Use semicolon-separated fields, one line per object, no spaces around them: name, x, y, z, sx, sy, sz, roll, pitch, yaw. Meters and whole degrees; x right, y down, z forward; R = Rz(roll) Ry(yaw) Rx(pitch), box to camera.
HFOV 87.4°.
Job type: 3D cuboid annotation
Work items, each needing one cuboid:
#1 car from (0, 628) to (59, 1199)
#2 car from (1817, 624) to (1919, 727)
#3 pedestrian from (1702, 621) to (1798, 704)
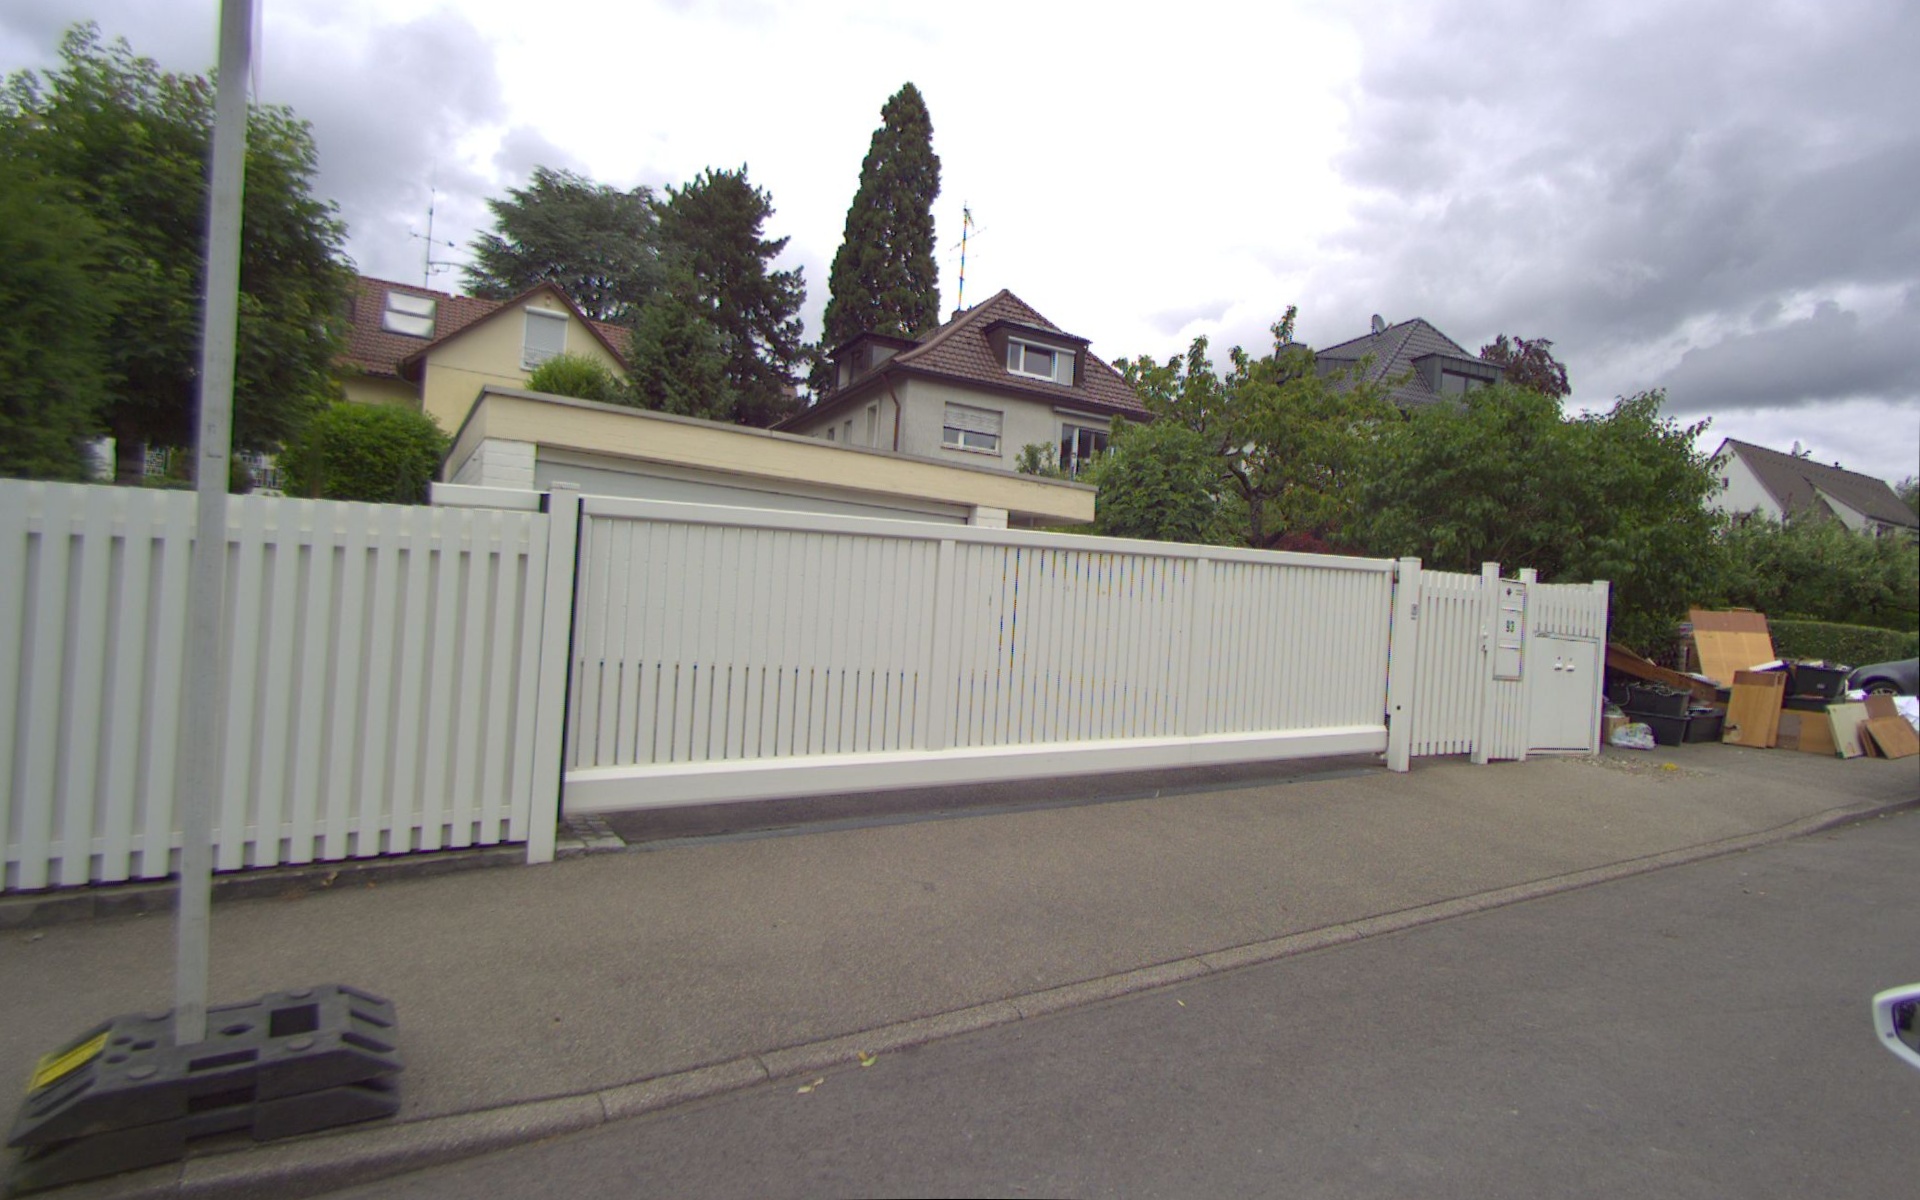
car;-3.274;0.726;0.469;3.953;1.452;1.588;2;-2;-30
car;15.224;1.167;14.524;1.796;1.463;3.988;1;1;-14
pedestrian;12.702;0.990;16.182;0.930;1.241;0.837;3;0;17
